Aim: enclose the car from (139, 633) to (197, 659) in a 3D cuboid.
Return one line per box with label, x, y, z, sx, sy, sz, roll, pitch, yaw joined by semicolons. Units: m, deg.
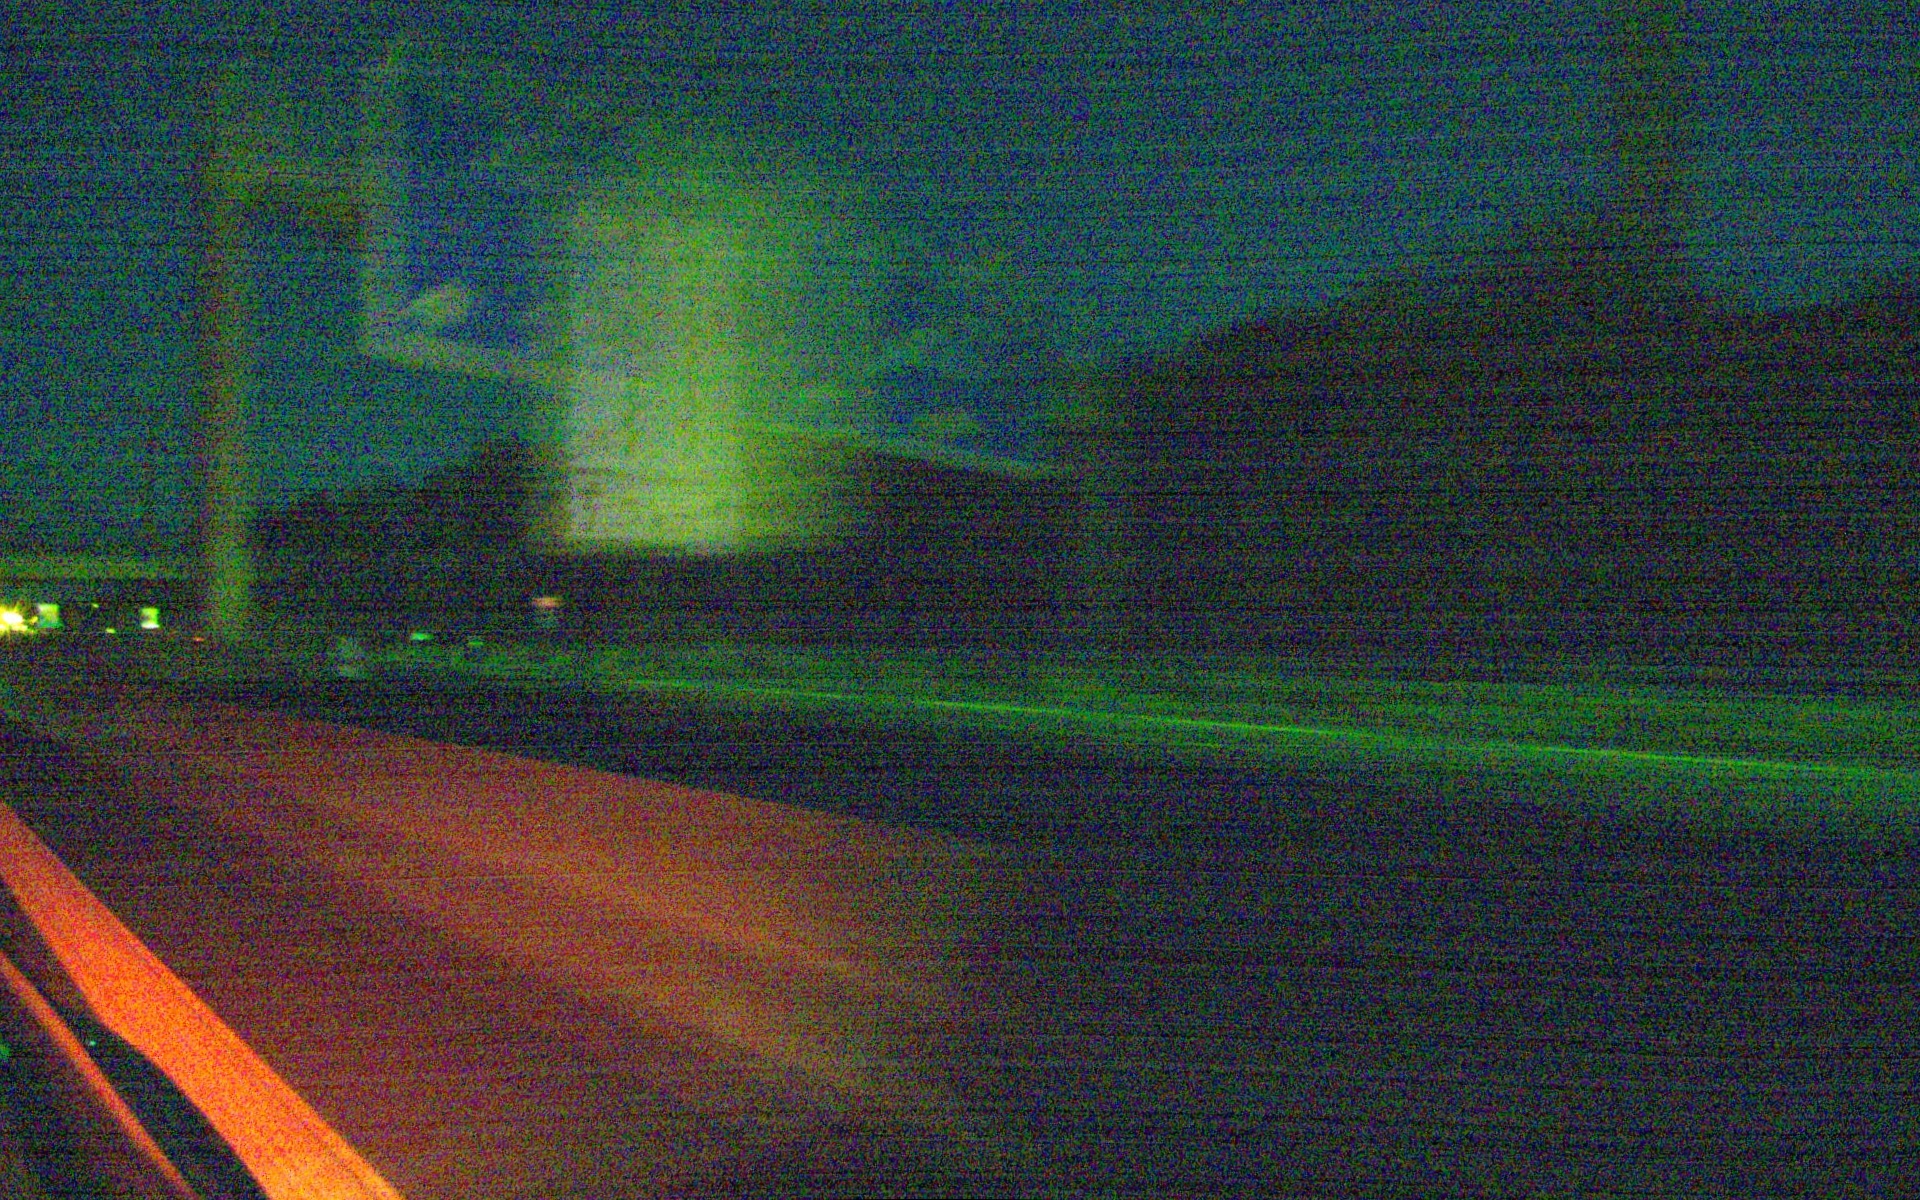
car;-48.003;2.784;61.297;4.556;1.477;1.802;-2;-5;40
